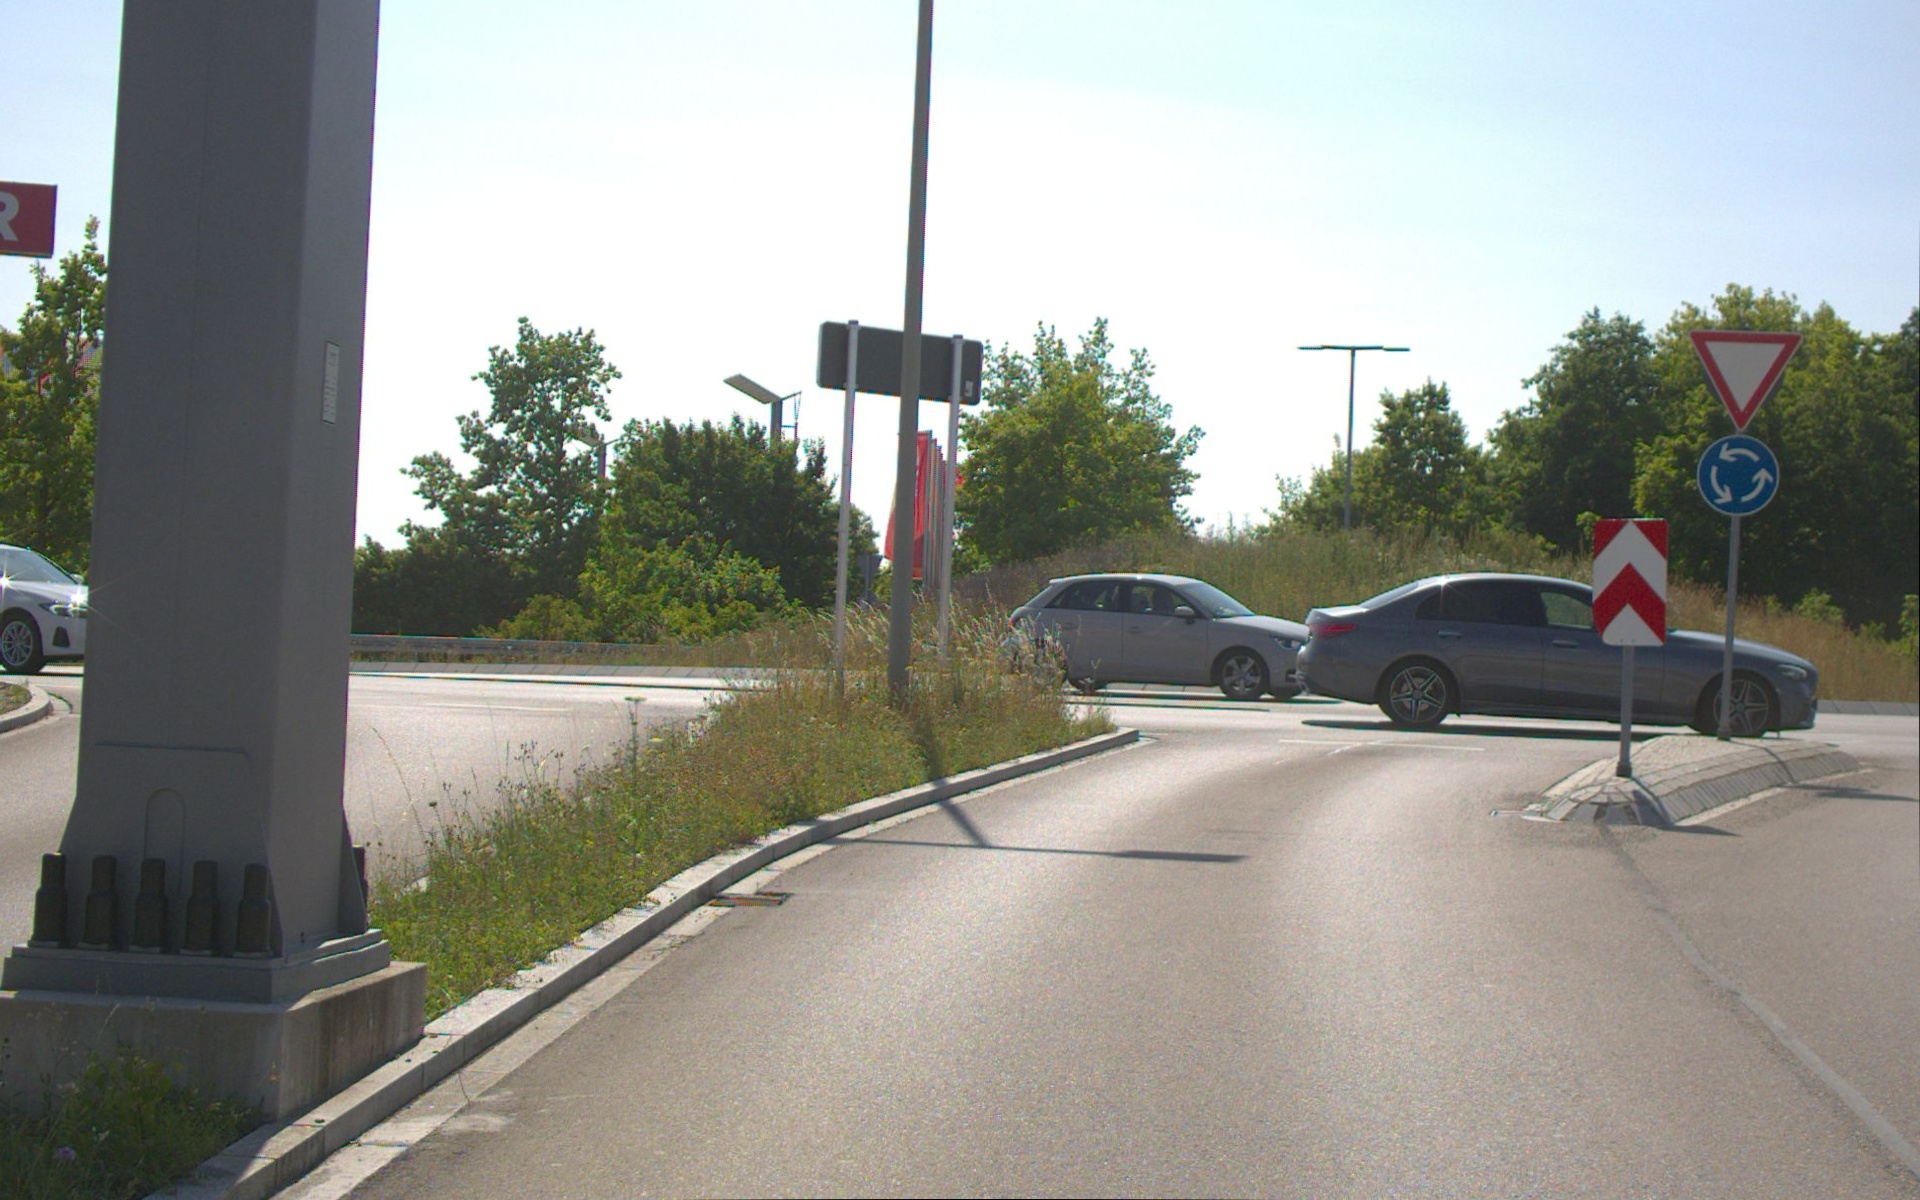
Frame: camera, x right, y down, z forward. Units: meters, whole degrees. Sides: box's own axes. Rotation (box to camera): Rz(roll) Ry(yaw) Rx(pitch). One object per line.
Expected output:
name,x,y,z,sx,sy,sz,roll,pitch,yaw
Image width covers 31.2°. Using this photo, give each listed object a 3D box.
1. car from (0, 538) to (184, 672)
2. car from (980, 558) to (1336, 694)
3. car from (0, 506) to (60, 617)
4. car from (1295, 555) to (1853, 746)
car,-10.684,-0.018,37.693,4.335,1.347,1.570,3,0,32
car,2.288,0.294,39.876,3.762,1.347,1.529,3,0,25
car,-15.154,-0.606,48.763,4.273,1.525,1.792,2,0,-2
car,5.580,0.448,31.778,4.858,1.447,2.000,3,0,5
